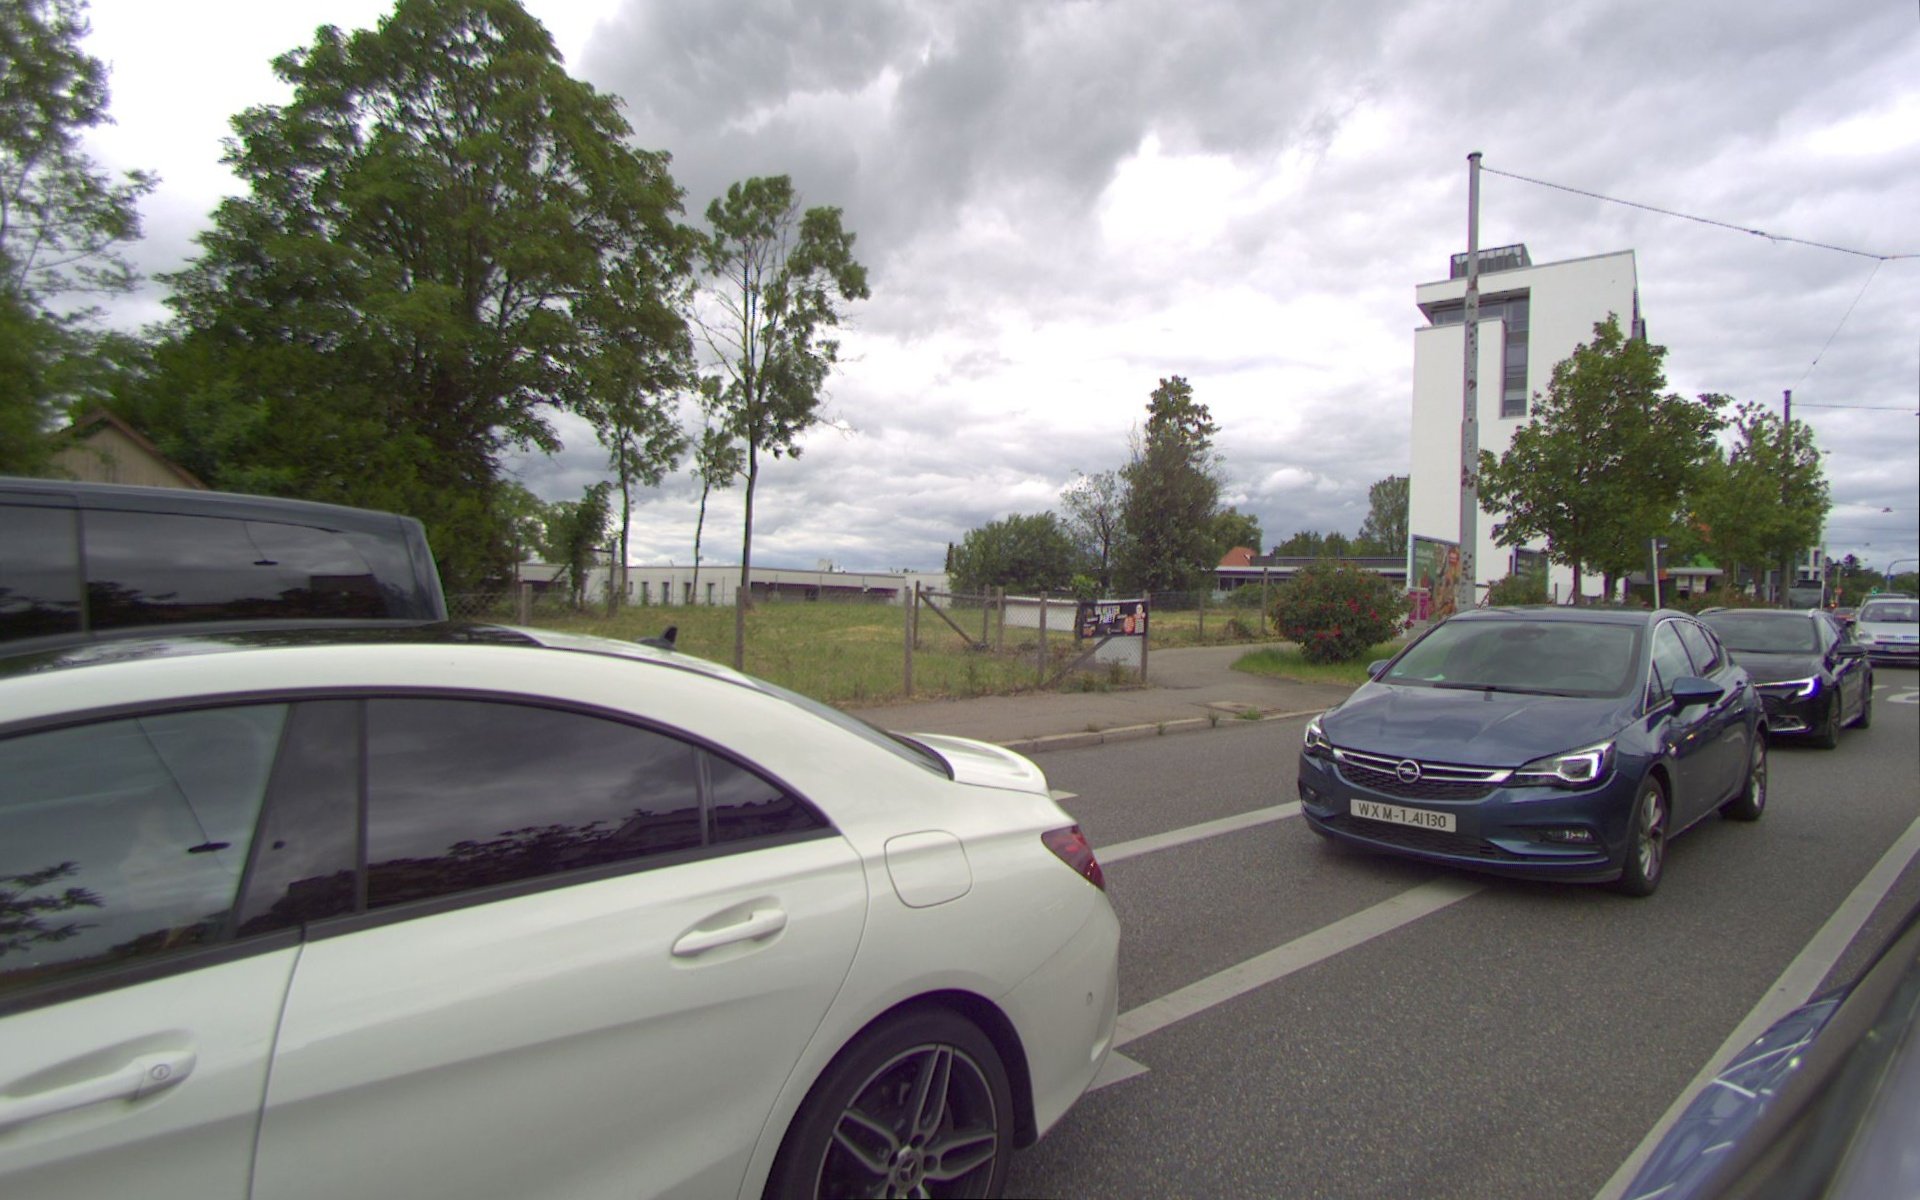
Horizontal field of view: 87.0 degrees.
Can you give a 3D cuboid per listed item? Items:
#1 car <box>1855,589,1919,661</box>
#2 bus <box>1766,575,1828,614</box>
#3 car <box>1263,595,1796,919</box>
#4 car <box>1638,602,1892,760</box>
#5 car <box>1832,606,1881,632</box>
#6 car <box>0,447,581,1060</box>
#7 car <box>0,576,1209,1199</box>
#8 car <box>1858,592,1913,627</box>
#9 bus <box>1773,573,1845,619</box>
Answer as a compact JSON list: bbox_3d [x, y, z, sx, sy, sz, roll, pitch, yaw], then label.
[{"bbox_3d":[23.209,0.563,24.508,3.717,1.637,1.849,0,-1,-41],"label":"car"},{"bbox_3d":[61.428,-0.450,74.478,2.952,2.664,12.751,0,1,37],"label":"bus"},{"bbox_3d":[3.817,0.690,6.486,3.931,1.428,1.825,0,0,-42],"label":"car"},{"bbox_3d":[9.286,0.778,11.571,3.854,1.475,1.663,0,0,-42],"label":"car"},{"bbox_3d":[63.218,1.319,71.414,1.986,1.621,3.952,2,1,34],"label":"car"},{"bbox_3d":[-3.963,0.472,3.469,4.627,1.863,1.952,0,-1,-41],"label":"car"},{"bbox_3d":[-1.531,0.694,1.819,4.300,1.451,1.652,0,1,-41],"label":"car"},{"bbox_3d":[52.992,0.507,57.995,1.990,1.844,3.945,2,2,38],"label":"car"},{"bbox_3d":[53.961,-0.315,64.578,2.952,2.664,11.986,0,1,37],"label":"bus"}]
